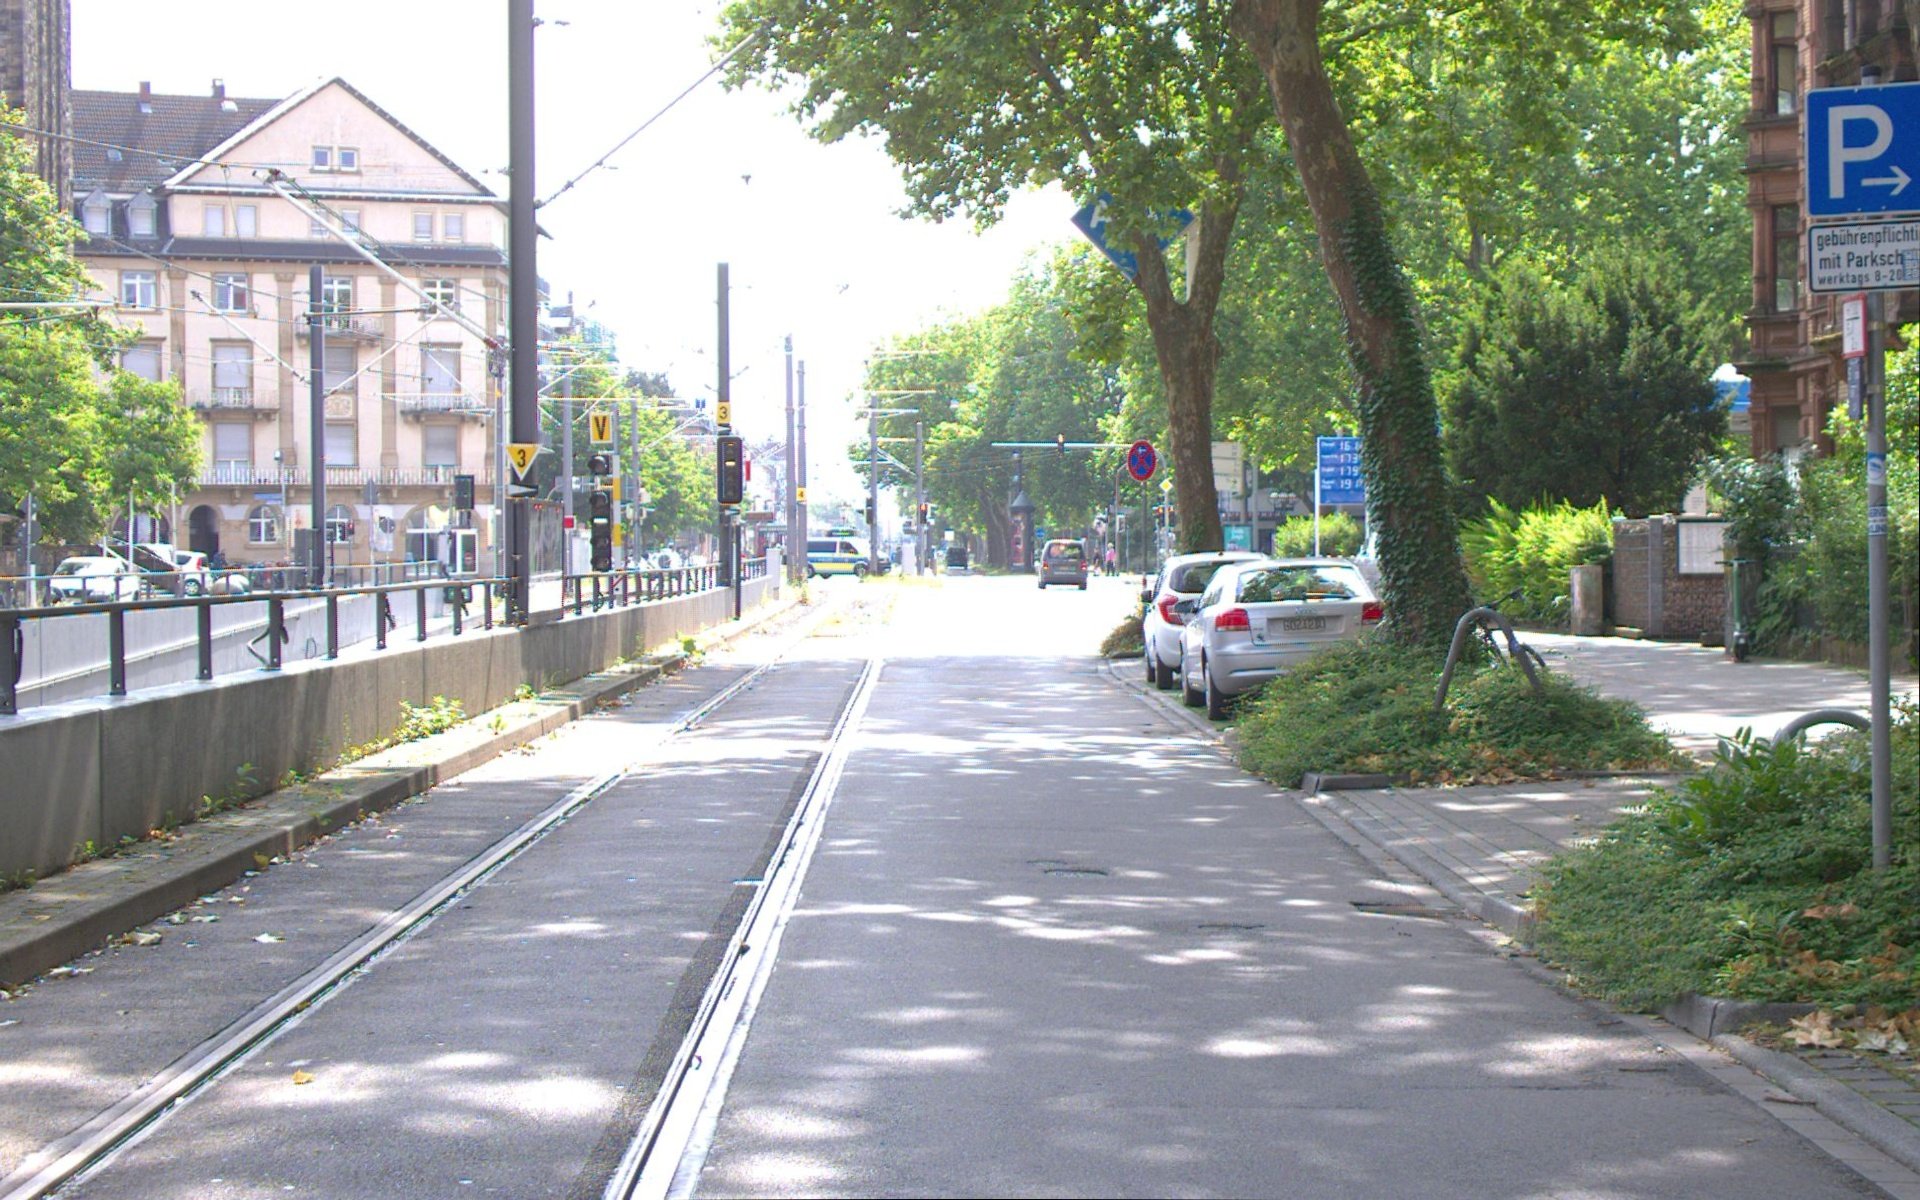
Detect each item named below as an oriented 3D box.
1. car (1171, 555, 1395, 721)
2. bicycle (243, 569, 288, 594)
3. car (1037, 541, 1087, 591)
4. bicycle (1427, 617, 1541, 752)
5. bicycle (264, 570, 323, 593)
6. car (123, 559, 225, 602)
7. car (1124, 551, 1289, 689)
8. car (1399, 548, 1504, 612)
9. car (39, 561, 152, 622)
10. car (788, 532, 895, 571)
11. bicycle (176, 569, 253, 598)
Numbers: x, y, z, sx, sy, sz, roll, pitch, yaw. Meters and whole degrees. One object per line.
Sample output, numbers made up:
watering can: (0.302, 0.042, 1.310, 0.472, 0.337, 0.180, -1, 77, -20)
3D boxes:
car: (2.969, 0.323, 32.241, 1.677, 1.439, 3.859, -1, 0, -1)
bicycle: (-31.457, -0.846, 155.640, 1.970, 1.110, 0.487, -1, 1, -36)
car: (3.800, -1.270, 128.407, 1.750, 1.802, 3.475, 1, 1, 0)
bicycle: (4.154, 0.661, 27.338, 0.579, 1.016, 1.324, -1, 1, -5)
bicycle: (-30.445, -0.843, 157.050, 2.557, 1.049, 0.682, -1, 1, -27)
car: (-28.302, -0.705, 123.905, 3.265, 1.497, 1.855, -1, 1, -2)
car: (2.764, 0.205, 39.206, 1.553, 1.480, 3.859, -1, 0, -1)
car: (11.374, -0.474, 79.786, 1.806, 1.450, 4.001, 0, 1, -1)
car: (-22.294, -0.242, 88.805, 1.930, 1.499, 4.415, 0, 1, -2)
car: (-5.701, -2.333, 165.623, 4.741, 1.853, 1.997, 0, 1, 25)
bicycle: (-33.869, -0.752, 156.183, 3.312, 1.249, 0.998, 0, 1, 17)
